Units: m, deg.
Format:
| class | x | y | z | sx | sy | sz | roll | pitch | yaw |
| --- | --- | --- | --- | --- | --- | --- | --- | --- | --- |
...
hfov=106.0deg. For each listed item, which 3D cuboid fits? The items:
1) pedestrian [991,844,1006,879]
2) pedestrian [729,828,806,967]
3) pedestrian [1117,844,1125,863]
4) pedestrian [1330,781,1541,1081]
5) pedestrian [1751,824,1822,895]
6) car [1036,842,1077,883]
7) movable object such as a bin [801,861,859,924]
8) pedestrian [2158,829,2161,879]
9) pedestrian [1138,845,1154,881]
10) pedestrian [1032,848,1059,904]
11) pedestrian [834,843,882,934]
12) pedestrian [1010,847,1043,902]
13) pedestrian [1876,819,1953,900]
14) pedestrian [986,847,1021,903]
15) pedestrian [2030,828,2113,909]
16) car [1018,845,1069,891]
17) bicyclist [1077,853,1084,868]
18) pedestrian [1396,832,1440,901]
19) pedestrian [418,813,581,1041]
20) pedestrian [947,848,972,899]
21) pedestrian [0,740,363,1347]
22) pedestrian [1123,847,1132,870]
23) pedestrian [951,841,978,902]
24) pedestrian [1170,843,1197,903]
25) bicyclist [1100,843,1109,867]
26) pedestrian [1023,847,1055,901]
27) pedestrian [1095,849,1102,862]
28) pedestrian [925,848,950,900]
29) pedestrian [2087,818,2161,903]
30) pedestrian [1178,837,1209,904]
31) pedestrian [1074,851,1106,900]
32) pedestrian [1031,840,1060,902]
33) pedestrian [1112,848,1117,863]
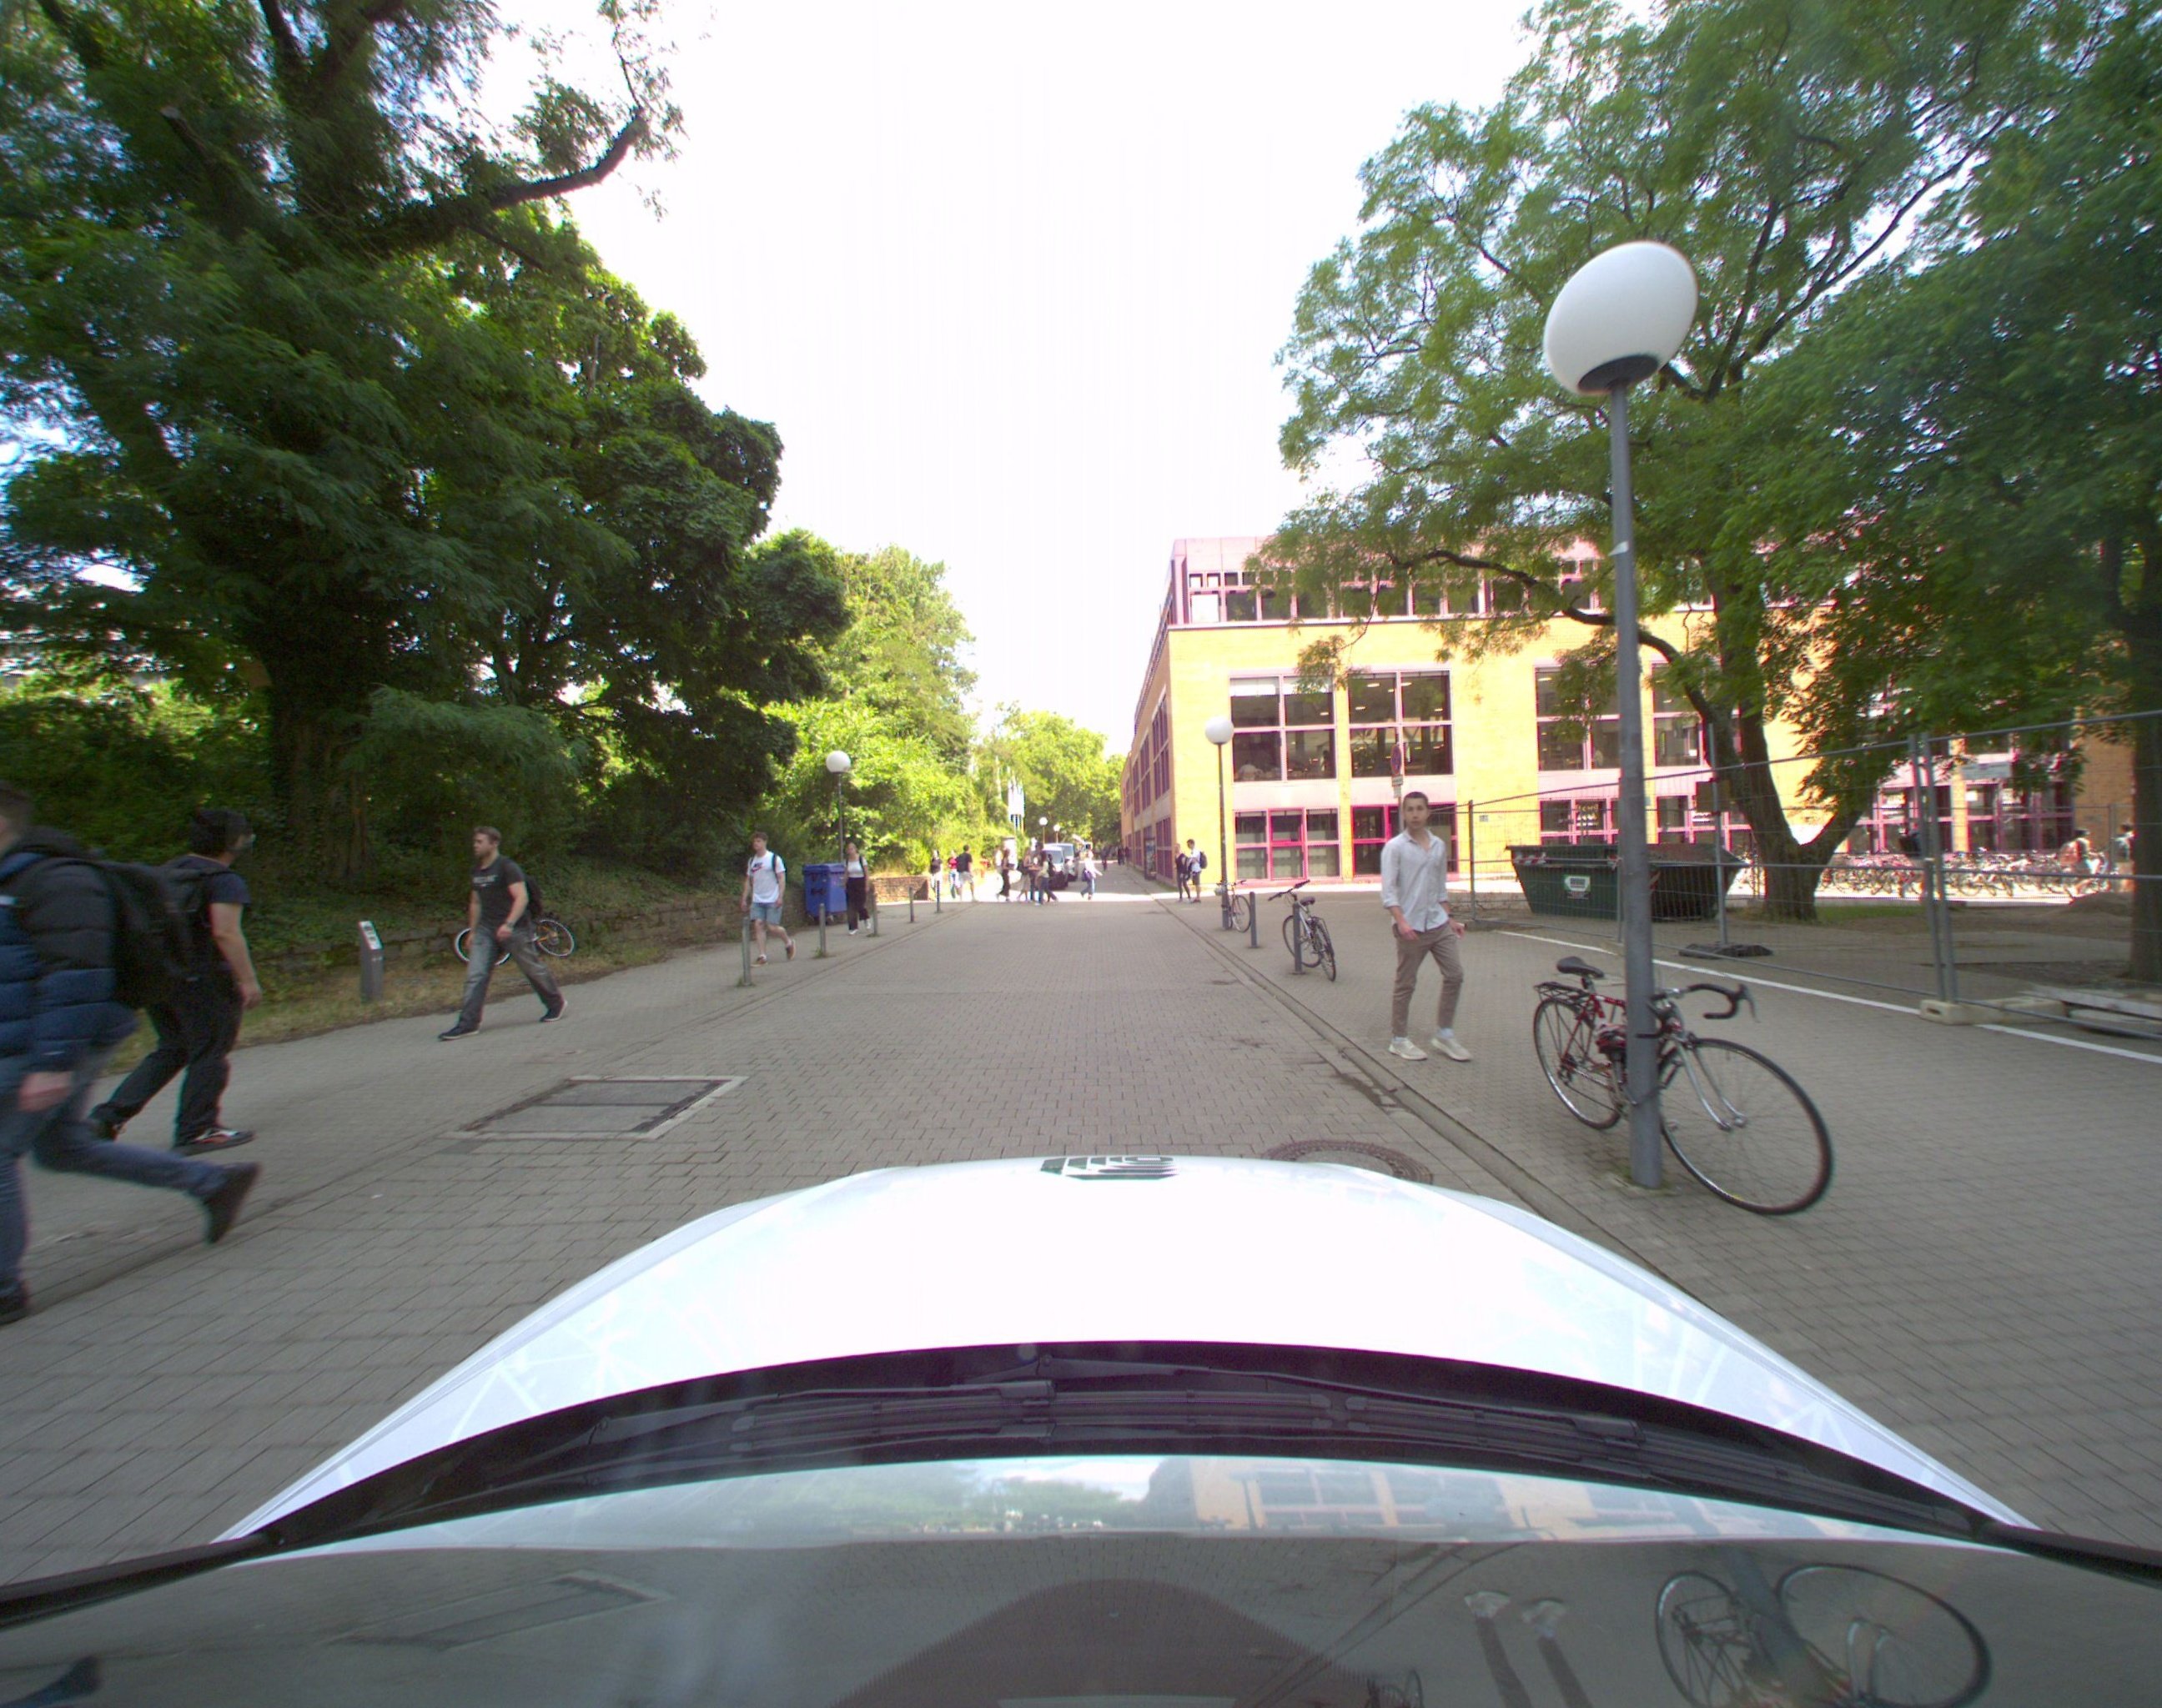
| class | x | y | z | sx | sy | sz | roll | pitch | yaw |
| --- | --- | --- | --- | --- | --- | --- | --- | --- | --- |
| pedestrian | -4.394 | 0.411 | 43.380 | 0.680 | 1.844 | 0.783 | -1 | -1 | 1 |
| pedestrian | -4.461 | 0.594 | 11.662 | 0.722 | 1.881 | 1.081 | -1 | -1 | -4 |
| pedestrian | 3.664 | -0.019 | 74.738 | 0.584 | 1.672 | 0.818 | -3 | -1 | 2 |
| pedestrian | 2.426 | 0.472 | 5.681 | 0.786 | 1.845 | 1.109 | 0 | 0 | -23 |
| pedestrian | 16.786 | 0.133 | 19.409 | 1.038 | 1.651 | 0.705 | -1 | -1 | 8 |
| car | -1.233 | 0.402 | 43.166 | 1.877 | 1.974 | 5.216 | -1 | 0 | 1 |
| movable object such as a bin | -5.633 | 0.839 | 18.353 | 0.705 | 1.336 | 1.243 | 1 | 0 | 11 |
| pedestrian | 26.211 | 0.243 | 19.109 | 0.900 | 1.728 | 0.683 | -2 | -3 | -4 |
| pedestrian | 3.160 | 0.429 | 39.663 | 0.680 | 1.747 | 0.783 | -1 | -1 | 1 |
| pedestrian | -1.041 | 0.652 | 23.990 | 0.778 | 1.620 | 0.684 | -1 | -1 | -2 |
| pedestrian | -4.382 | 0.654 | 16.038 | 0.681 | 1.728 | 1.001 | -1 | -1 | -3 |
| pedestrian | -1.653 | 0.629 | 24.946 | 0.881 | 1.672 | 0.560 | -1 | -1 | 8 |
| pedestrian | 18.356 | 0.129 | 17.950 | 0.900 | 1.728 | 0.683 | -2 | -3 | -4 |
| pedestrian | -2.417 | 0.639 | 25.444 | 0.881 | 1.672 | 0.645 | -3 | 1 | 8 |
| pedestrian | 21.895 | 0.329 | 18.019 | 0.900 | 1.728 | 0.683 | -2 | -3 | -4 |
| car | -1.486 | 0.534 | 33.999 | 1.784 | 1.761 | 4.482 | -2 | 0 | 1 |
| bicyclist | -0.042 | 0.655 | 82.105 | 0.585 | 1.573 | 0.829 | -1 | 0 | -2 |
| pedestrian | 8.219 | 0.303 | 19.905 | 0.847 | 1.651 | 0.589 | -1 | -1 | 8 |
| pedestrian | -5.152 | 0.604 | 7.297 | 0.681 | 1.873 | 1.119 | -1 | -1 | -4 |
| pedestrian | -3.943 | 0.629 | 26.470 | 0.681 | 1.620 | 0.912 | -1 | -1 | -4 |
| pedestrian | -3.459 | 0.579 | 3.024 | 0.877 | 1.857 | 1.039 | -1 | 0 | 38 |
| pedestrian | 3.495 | 0.313 | 60.901 | 0.584 | 1.672 | 0.699 | -3 | -1 | 2 |
| pedestrian | -3.586 | 0.545 | 25.131 | 0.680 | 1.844 | 0.783 | -1 | -1 | 1 |
| pedestrian | 2.976 | 0.544 | 23.647 | 0.692 | 1.672 | 0.589 | -3 | -1 | 8 |
| bicyclist | 1.671 | 0.068 | 58.713 | 0.585 | 1.716 | 0.665 | -1 | 0 | -3 |
| pedestrian | -1.336 | 0.630 | 25.756 | 0.928 | 1.672 | 0.586 | -2 | -1 | -8 |
| pedestrian | 2.244 | 0.206 | 105.270 | 0.722 | 1.672 | 0.748 | -3 | -1 | 2 |
| pedestrian | -4.633 | 0.642 | 26.382 | 0.681 | 1.620 | 0.977 | -1 | -1 | -4 |
| pedestrian | 22.031 | 0.151 | 17.091 | 0.900 | 1.728 | 0.683 | -2 | -3 | -4 |
| pedestrian | 3.167 | 0.460 | 22.834 | 0.762 | 1.794 | 0.589 | -3 | -1 | 8 |
| pedestrian | 0.292 | 0.693 | 26.449 | 0.881 | 1.542 | 0.744 | -2 | 0 | 8 |
| pedestrian | -1.075 | 0.521 | 24.683 | 0.823 | 1.844 | 0.684 | -1 | -1 | -2 |
| pedestrian | 4.453 | 0.177 | 108.035 | 0.651 | 1.922 | 0.818 | -3 | -1 | 2 |
